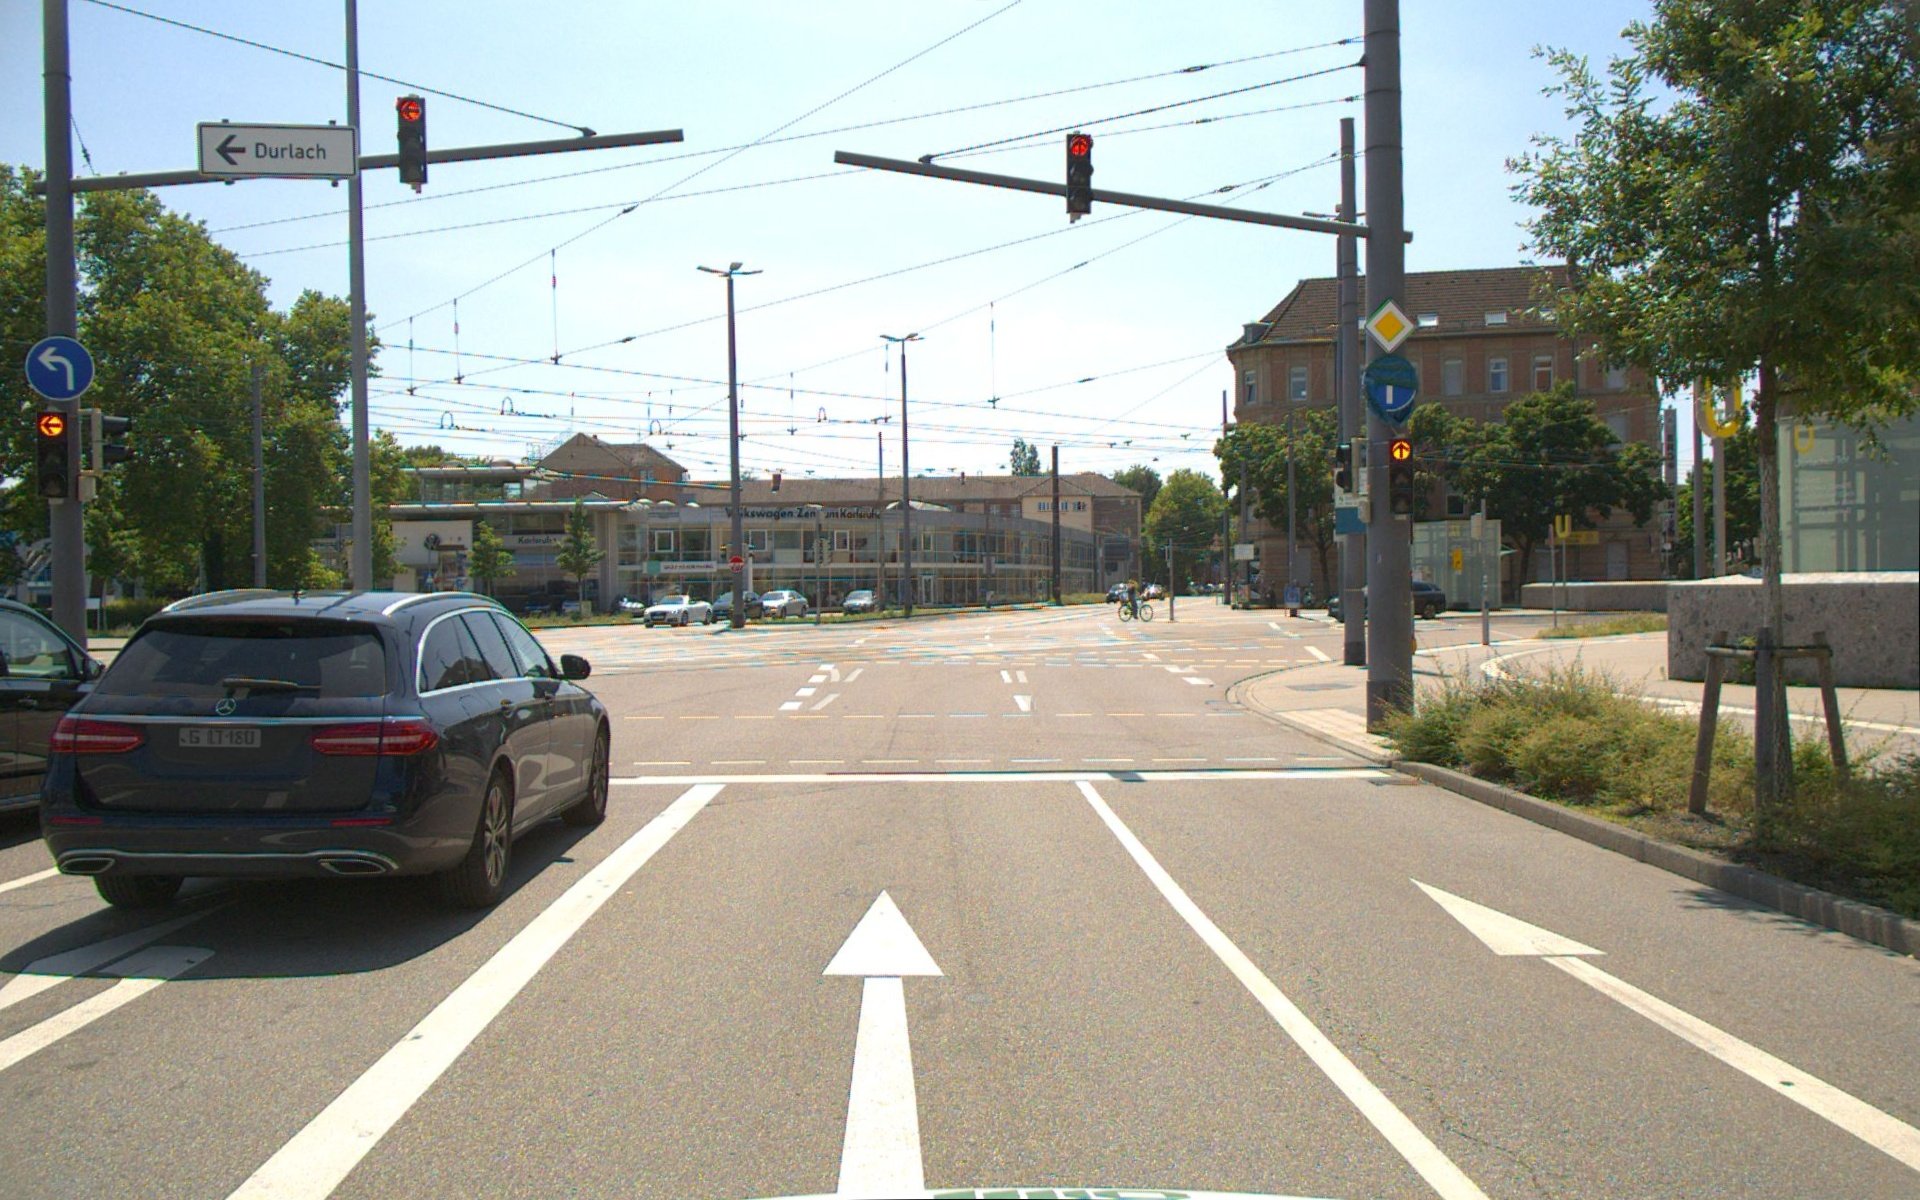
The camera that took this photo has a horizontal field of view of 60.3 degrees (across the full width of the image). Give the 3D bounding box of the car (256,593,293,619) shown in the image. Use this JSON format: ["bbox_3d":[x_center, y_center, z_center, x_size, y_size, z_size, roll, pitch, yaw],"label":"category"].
[{"bbox_3d":[-45.070,0.405,108.775,1.398,1.534,3.433,0,2,-8],"label":"car"}]

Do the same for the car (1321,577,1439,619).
[{"bbox_3d":[15.688,-0.096,61.785,4.043,1.476,1.687,-1,2,-22],"label":"car"}]

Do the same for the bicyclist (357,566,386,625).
[{"bbox_3d":[-19.819,-0.163,55.721,0.748,1.971,0.659,0,2,-4],"label":"bicyclist"}]

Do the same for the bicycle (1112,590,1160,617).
[{"bbox_3d":[7.780,0.162,73.042,2.129,1.126,0.454,-1,2,-20],"label":"bicycle"}]

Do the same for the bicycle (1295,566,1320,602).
[{"bbox_3d":[18.758,-0.873,89.339,0.599,1.819,3.181,0,2,-2],"label":"bicycle"}]

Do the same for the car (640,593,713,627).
[{"bbox_3d":[-12.421,0.427,72.673,1.585,1.414,4.127,-1,0,15],"label":"car"}]

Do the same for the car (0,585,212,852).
[{"bbox_3d":[-6.189,0.669,10.039,1.588,1.489,3.998,-1,0,-2],"label":"car"}]

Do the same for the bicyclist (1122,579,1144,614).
[{"bbox_3d":[7.631,-0.152,72.978,0.721,1.505,0.652,-1,2,-21],"label":"bicyclist"}]

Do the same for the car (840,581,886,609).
[{"bbox_3d":[-5.452,-0.303,93.686,1.537,1.452,3.617,0,2,15],"label":"car"}]

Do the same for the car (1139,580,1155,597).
[{"bbox_3d":[18.560,-1.157,164.115,1.552,1.555,3.719,0,2,8],"label":"car"}]

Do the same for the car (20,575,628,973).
[{"bbox_3d":[-3.035,0.696,9.009,1.682,1.584,4.585,-1,0,-2],"label":"car"}]

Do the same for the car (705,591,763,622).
[{"bbox_3d":[-10.710,0.301,78.659,1.505,1.300,3.542,0,2,15],"label":"car"}]

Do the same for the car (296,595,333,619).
[{"bbox_3d":[-42.201,0.438,108.224,1.481,1.443,3.416,0,2,-8],"label":"car"}]

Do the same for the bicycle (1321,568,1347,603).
[{"bbox_3d":[20.164,-0.797,89.309,0.599,1.819,3.181,0,2,-2],"label":"bicycle"}]

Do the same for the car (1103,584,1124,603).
[{"bbox_3d":[13.076,-0.590,140.658,1.498,1.484,3.556,0,2,9],"label":"car"}]

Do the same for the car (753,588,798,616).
[{"bbox_3d":[-9.447,0.098,84.776,1.401,1.308,3.265,0,2,10],"label":"car"}]

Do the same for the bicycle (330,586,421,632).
[{"bbox_3d":[-19.691,0.294,55.747,2.770,1.488,0.633,0,2,-4],"label":"bicycle"}]
